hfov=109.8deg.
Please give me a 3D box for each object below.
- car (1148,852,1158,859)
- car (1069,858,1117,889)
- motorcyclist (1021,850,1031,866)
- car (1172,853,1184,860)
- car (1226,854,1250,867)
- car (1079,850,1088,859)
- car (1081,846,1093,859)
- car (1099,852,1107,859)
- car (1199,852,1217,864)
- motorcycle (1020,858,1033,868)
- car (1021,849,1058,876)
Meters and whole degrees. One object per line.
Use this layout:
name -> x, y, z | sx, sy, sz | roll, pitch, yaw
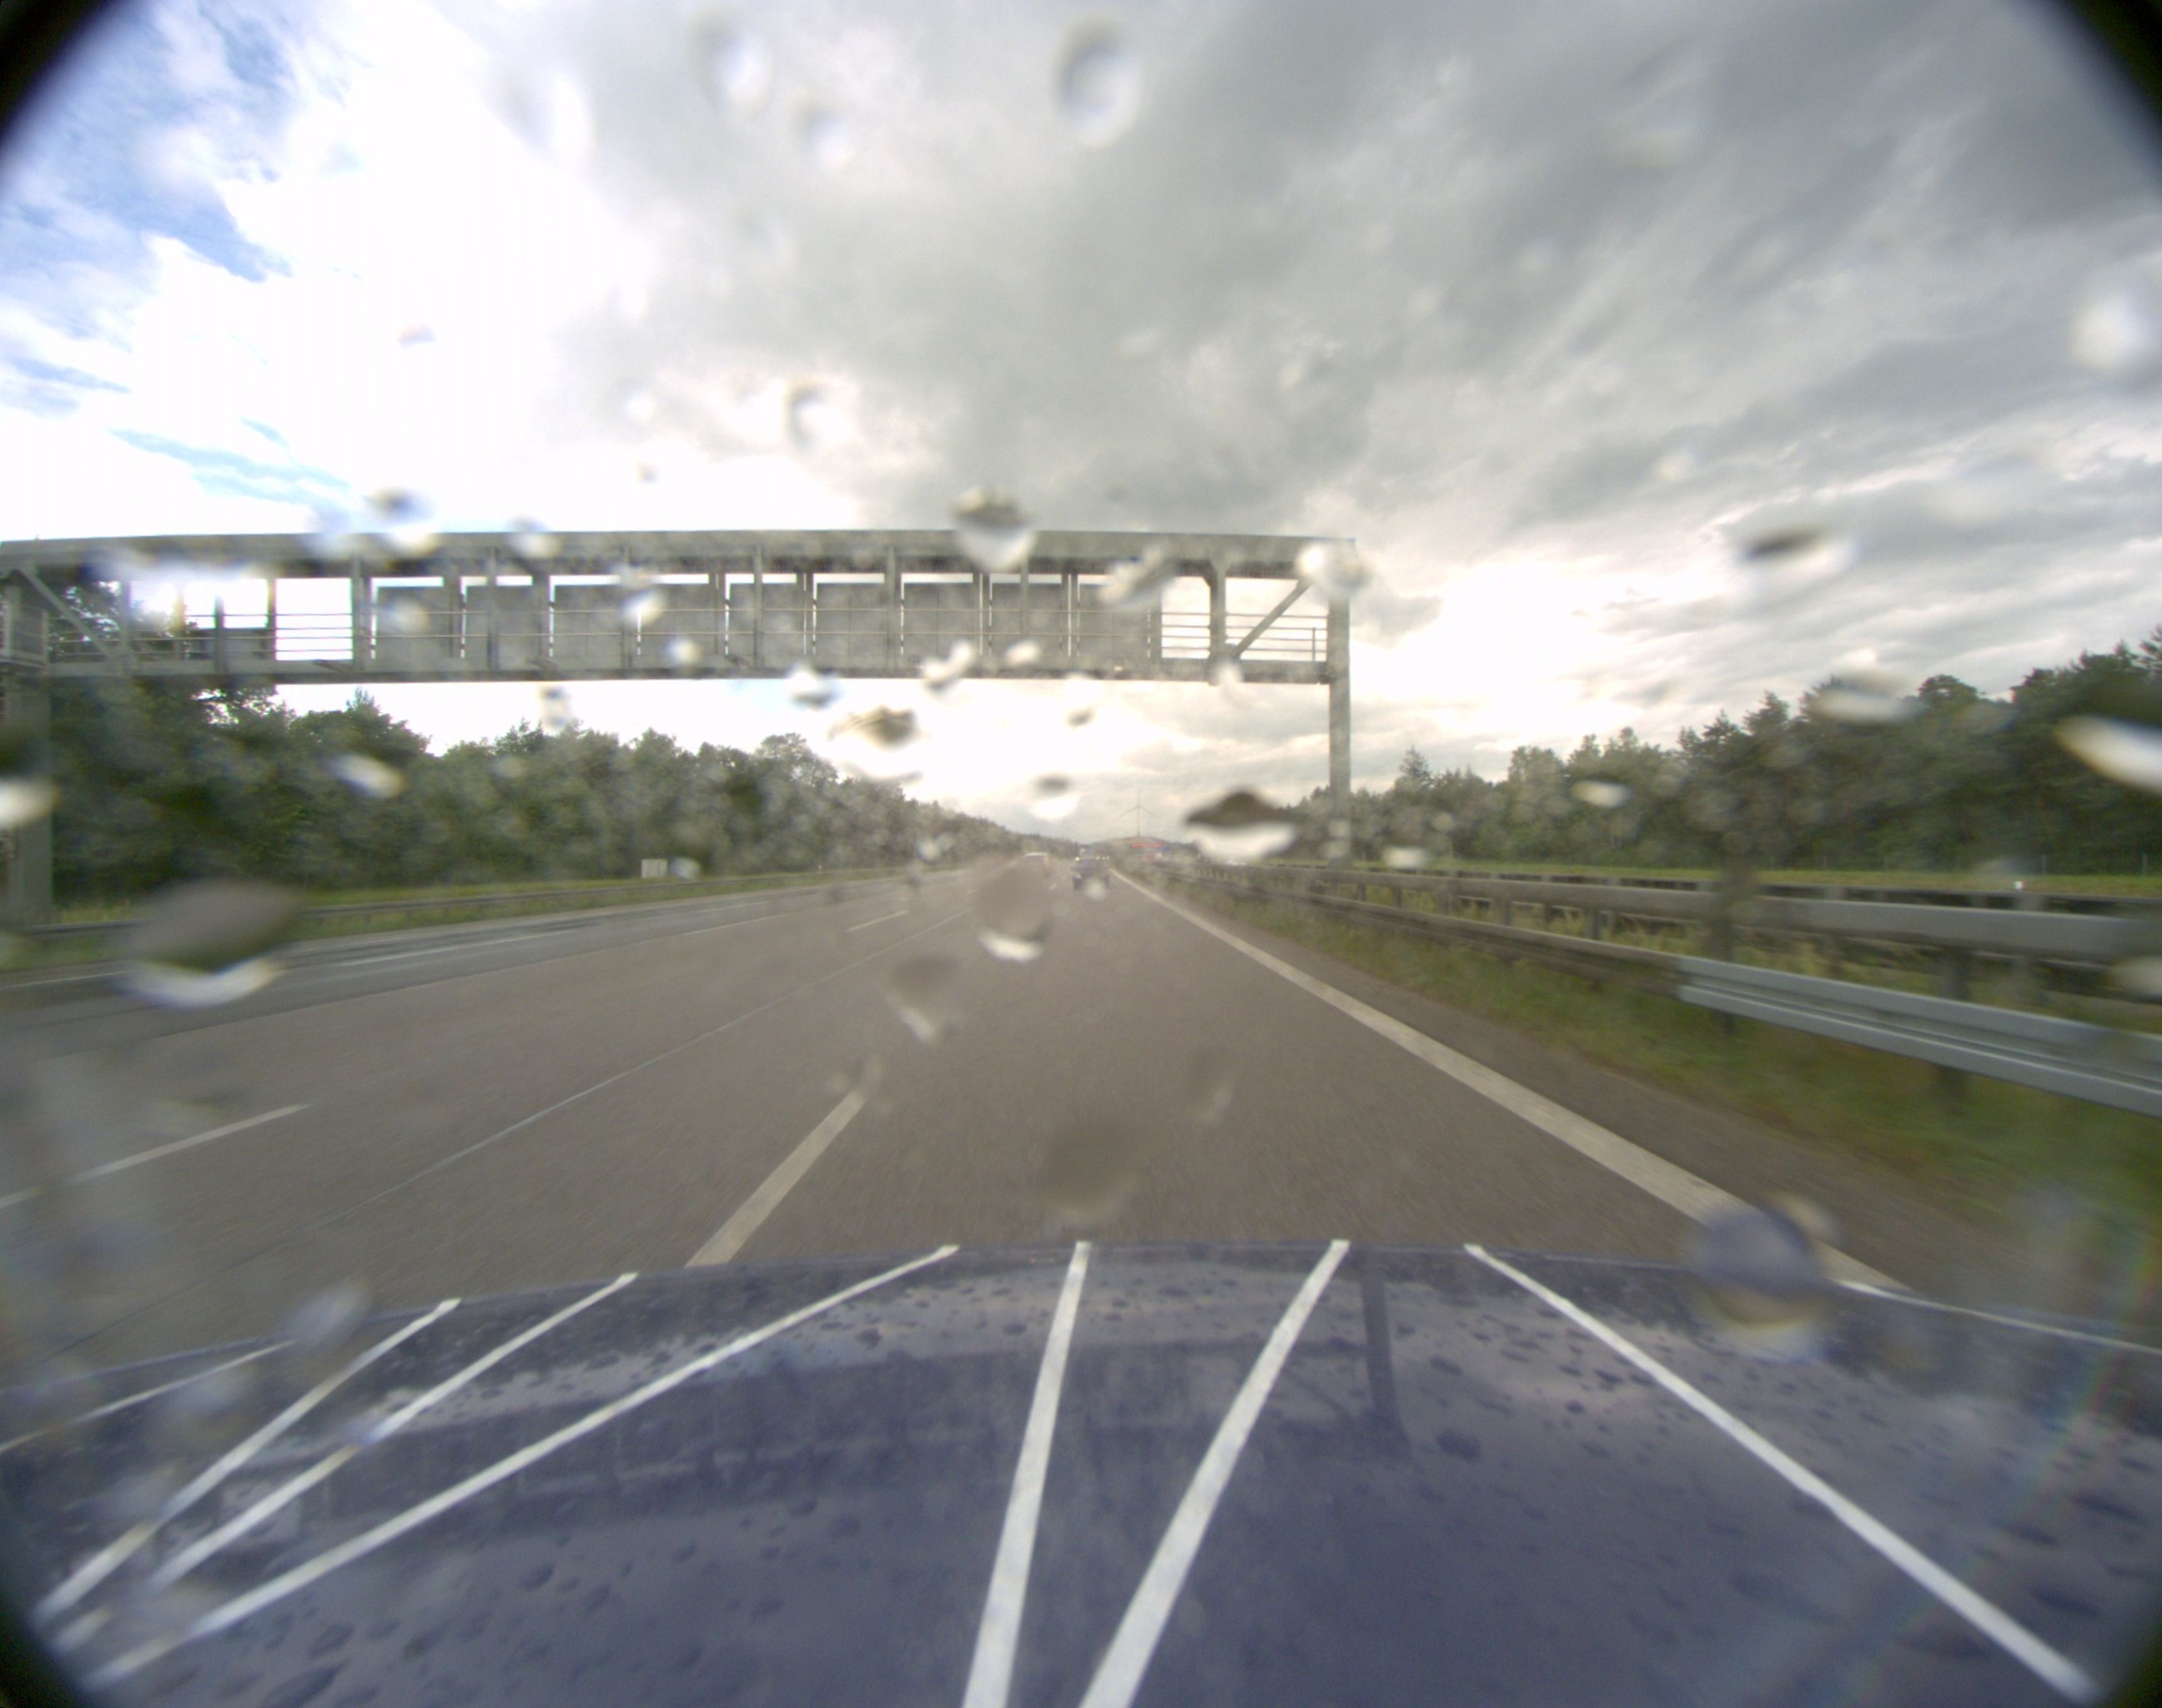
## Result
car -> 17.475, 0.416, 184.915 | 1.998, 1.600, 4.609 | -2, 0, 1
car -> 0.634, 0.864, 35.444 | 1.809, 1.321, 4.433 | 0, 0, 6
motorcyclist -> -5.651, 0.394, 78.190 | 0.893, 1.605, 0.959 | -2, 0, 5
car -> 20.527, 0.503, 160.241 | 1.998, 1.492, 4.609 | 1, 0, 1
car -> 18.571, 0.733, 90.013 | 1.854, 1.436, 4.320 | 0, 0, 0
car -> 0.566, 0.064, 170.820 | 1.831, 1.838, 4.000 | -3, 0, 1
car -> 1.035, -0.252, 130.273 | 1.998, 2.002, 4.000 | -3, 0, 1
car -> 6.537, 0.355, 225.622 | 2.179, 2.002, 4.362 | -3, 0, 1
car -> 19.783, 0.618, 118.501 | 1.998, 1.906, 4.724 | 2, 0, 1
motorcycle -> -5.604, 0.924, 78.409 | 1.002, 1.025, 2.175 | -2, 0, 5
car -> -3.027, 0.607, 56.316 | 1.968, 1.890, 4.883 | -2, 0, 5
